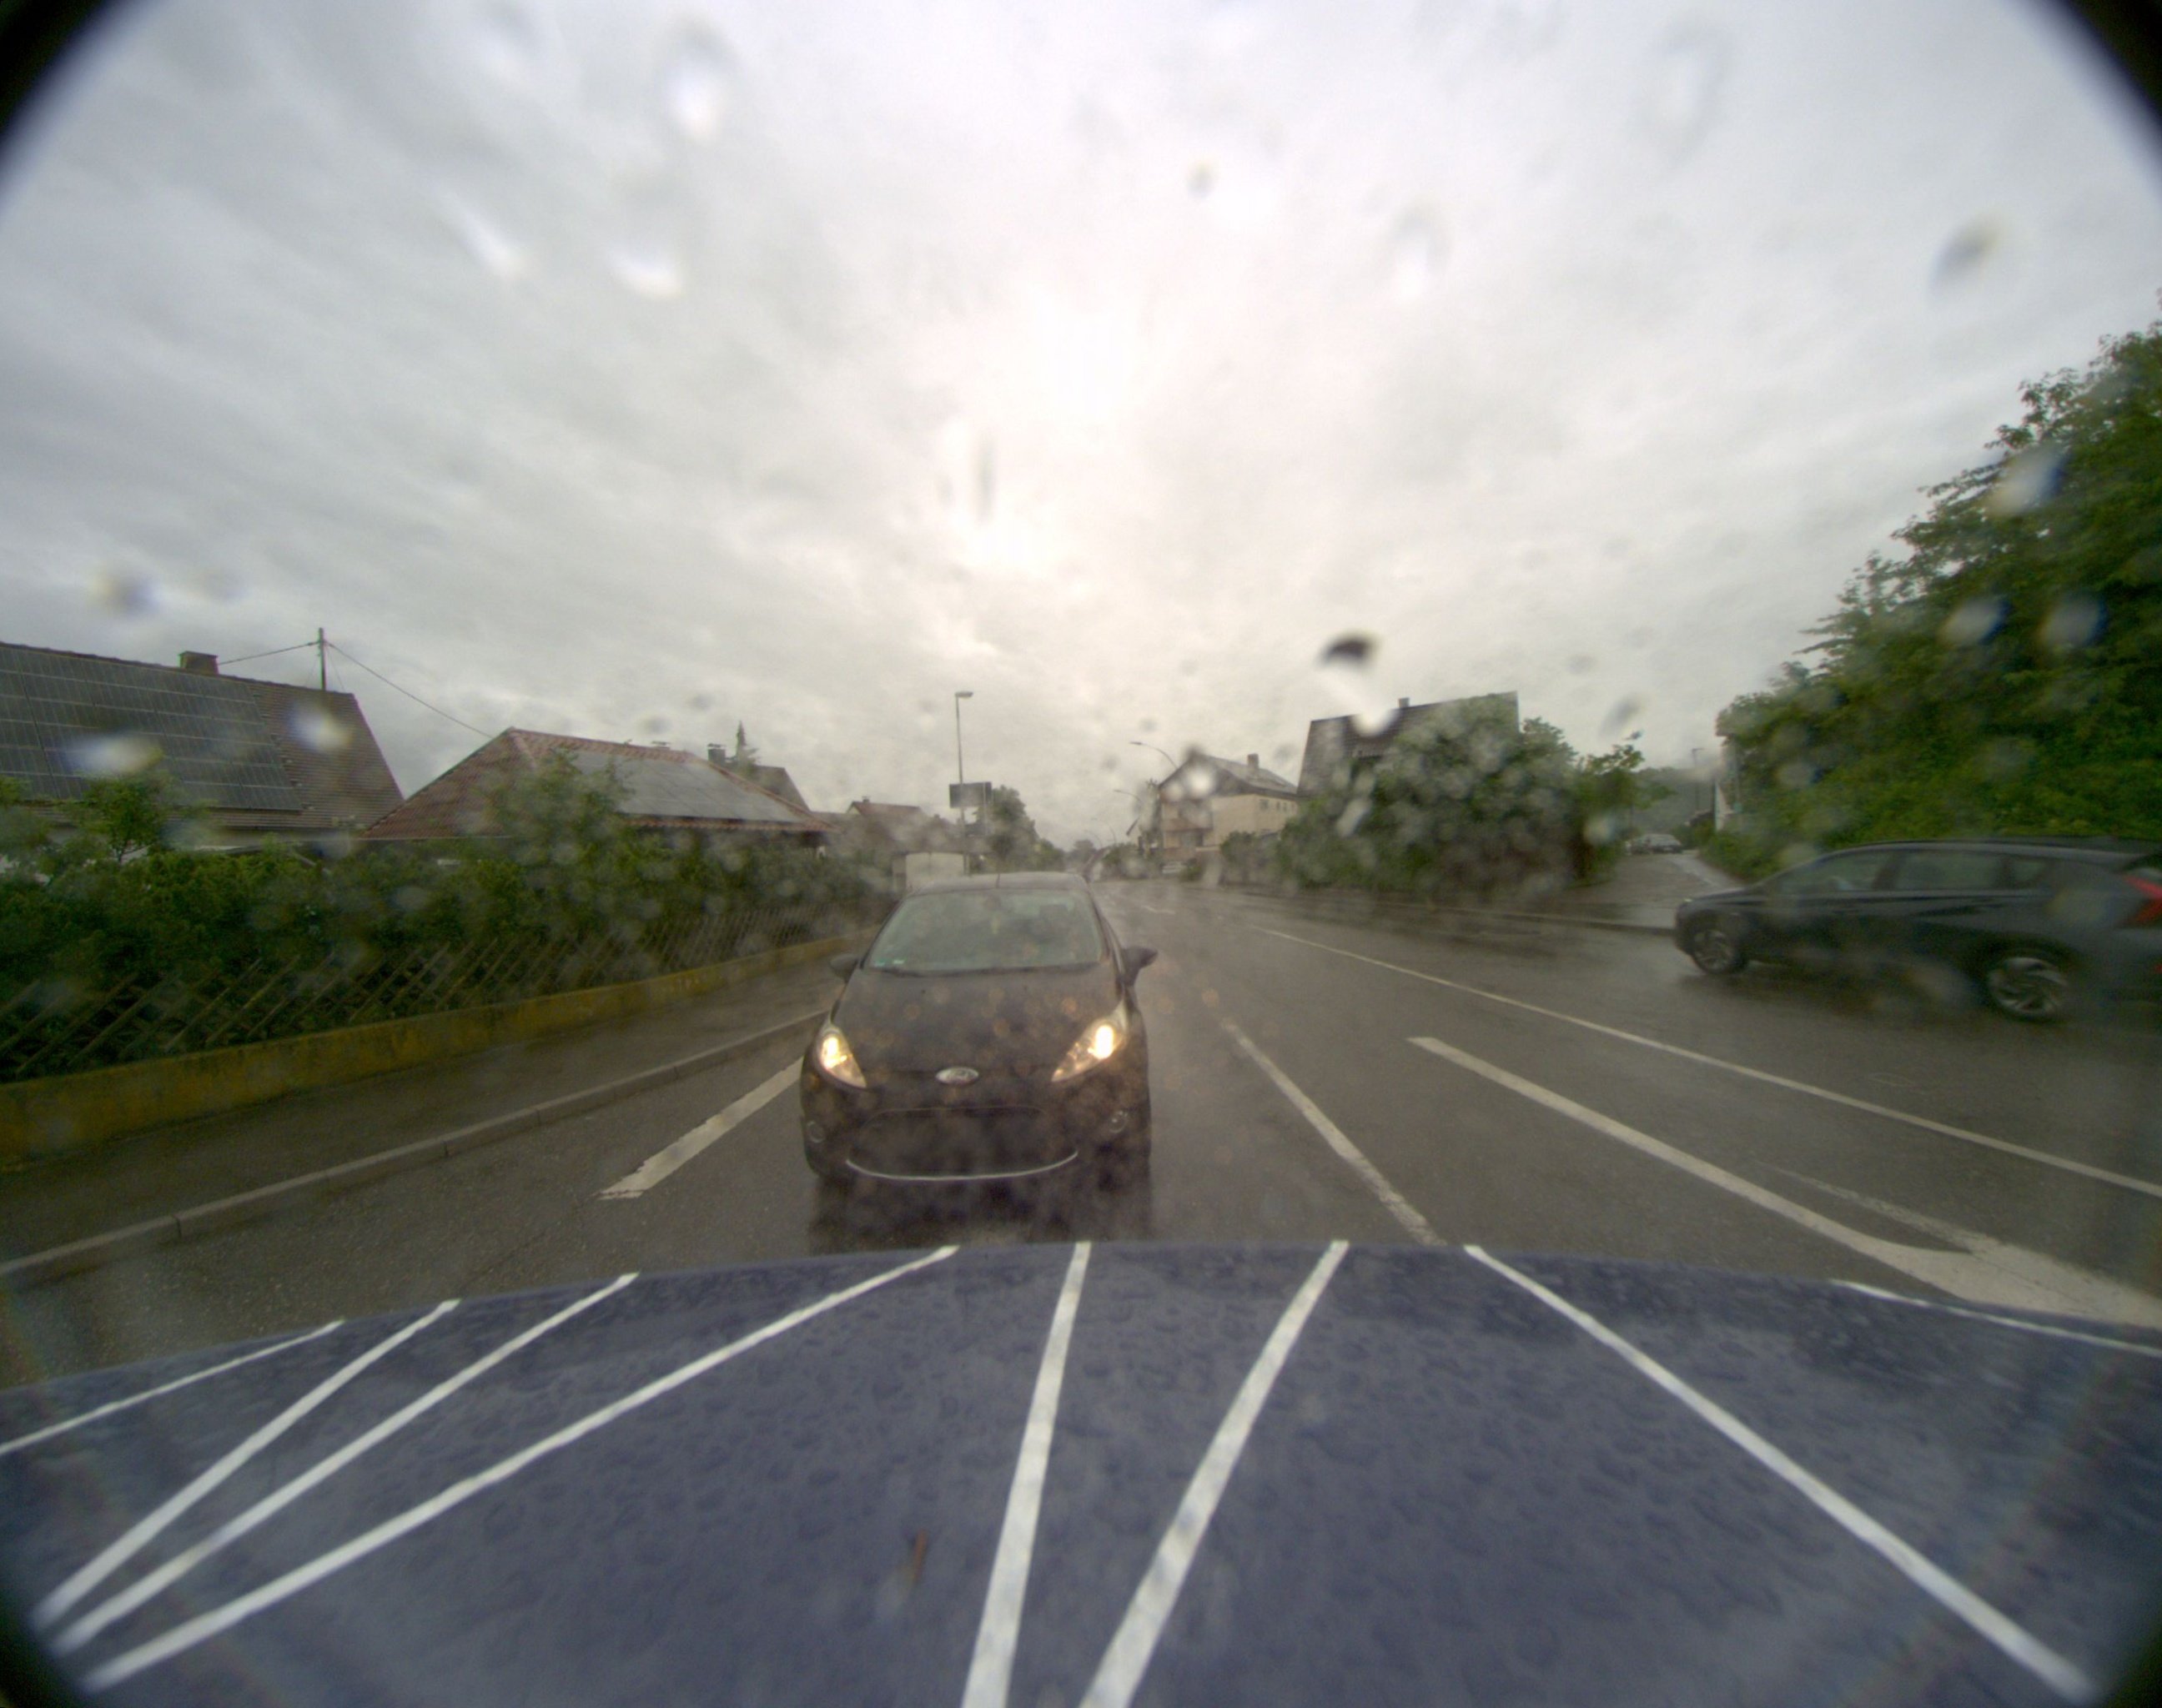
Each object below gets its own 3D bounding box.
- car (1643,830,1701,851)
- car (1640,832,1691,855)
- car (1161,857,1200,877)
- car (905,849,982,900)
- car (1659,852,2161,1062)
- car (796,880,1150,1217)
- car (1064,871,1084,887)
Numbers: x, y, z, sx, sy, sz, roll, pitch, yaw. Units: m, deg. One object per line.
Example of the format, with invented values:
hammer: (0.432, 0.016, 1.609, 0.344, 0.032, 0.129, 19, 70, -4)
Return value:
car: (45.642, -1.010, 58.758, 1.997, 1.477, 4.004, -3, 0, 13)
car: (40.685, -0.745, 52.987, 1.895, 1.474, 4.007, -2, 0, 24)
car: (8.806, 1.110, 66.890, 1.661, 1.538, 4.007, -2, 1, 34)
car: (-6.916, 1.001, 38.608, 1.650, 2.337, 4.007, -2, 0, 27)
car: (8.052, 0.705, 7.213, 1.670, 1.430, 4.105, 0, 0, -8)
car: (-0.570, 1.014, 5.678, 1.666, 1.410, 3.931, -2, 1, -1)
car: (-0.770, 2.611, 79.364, 1.899, 1.474, 3.999, -2, 0, -3)
